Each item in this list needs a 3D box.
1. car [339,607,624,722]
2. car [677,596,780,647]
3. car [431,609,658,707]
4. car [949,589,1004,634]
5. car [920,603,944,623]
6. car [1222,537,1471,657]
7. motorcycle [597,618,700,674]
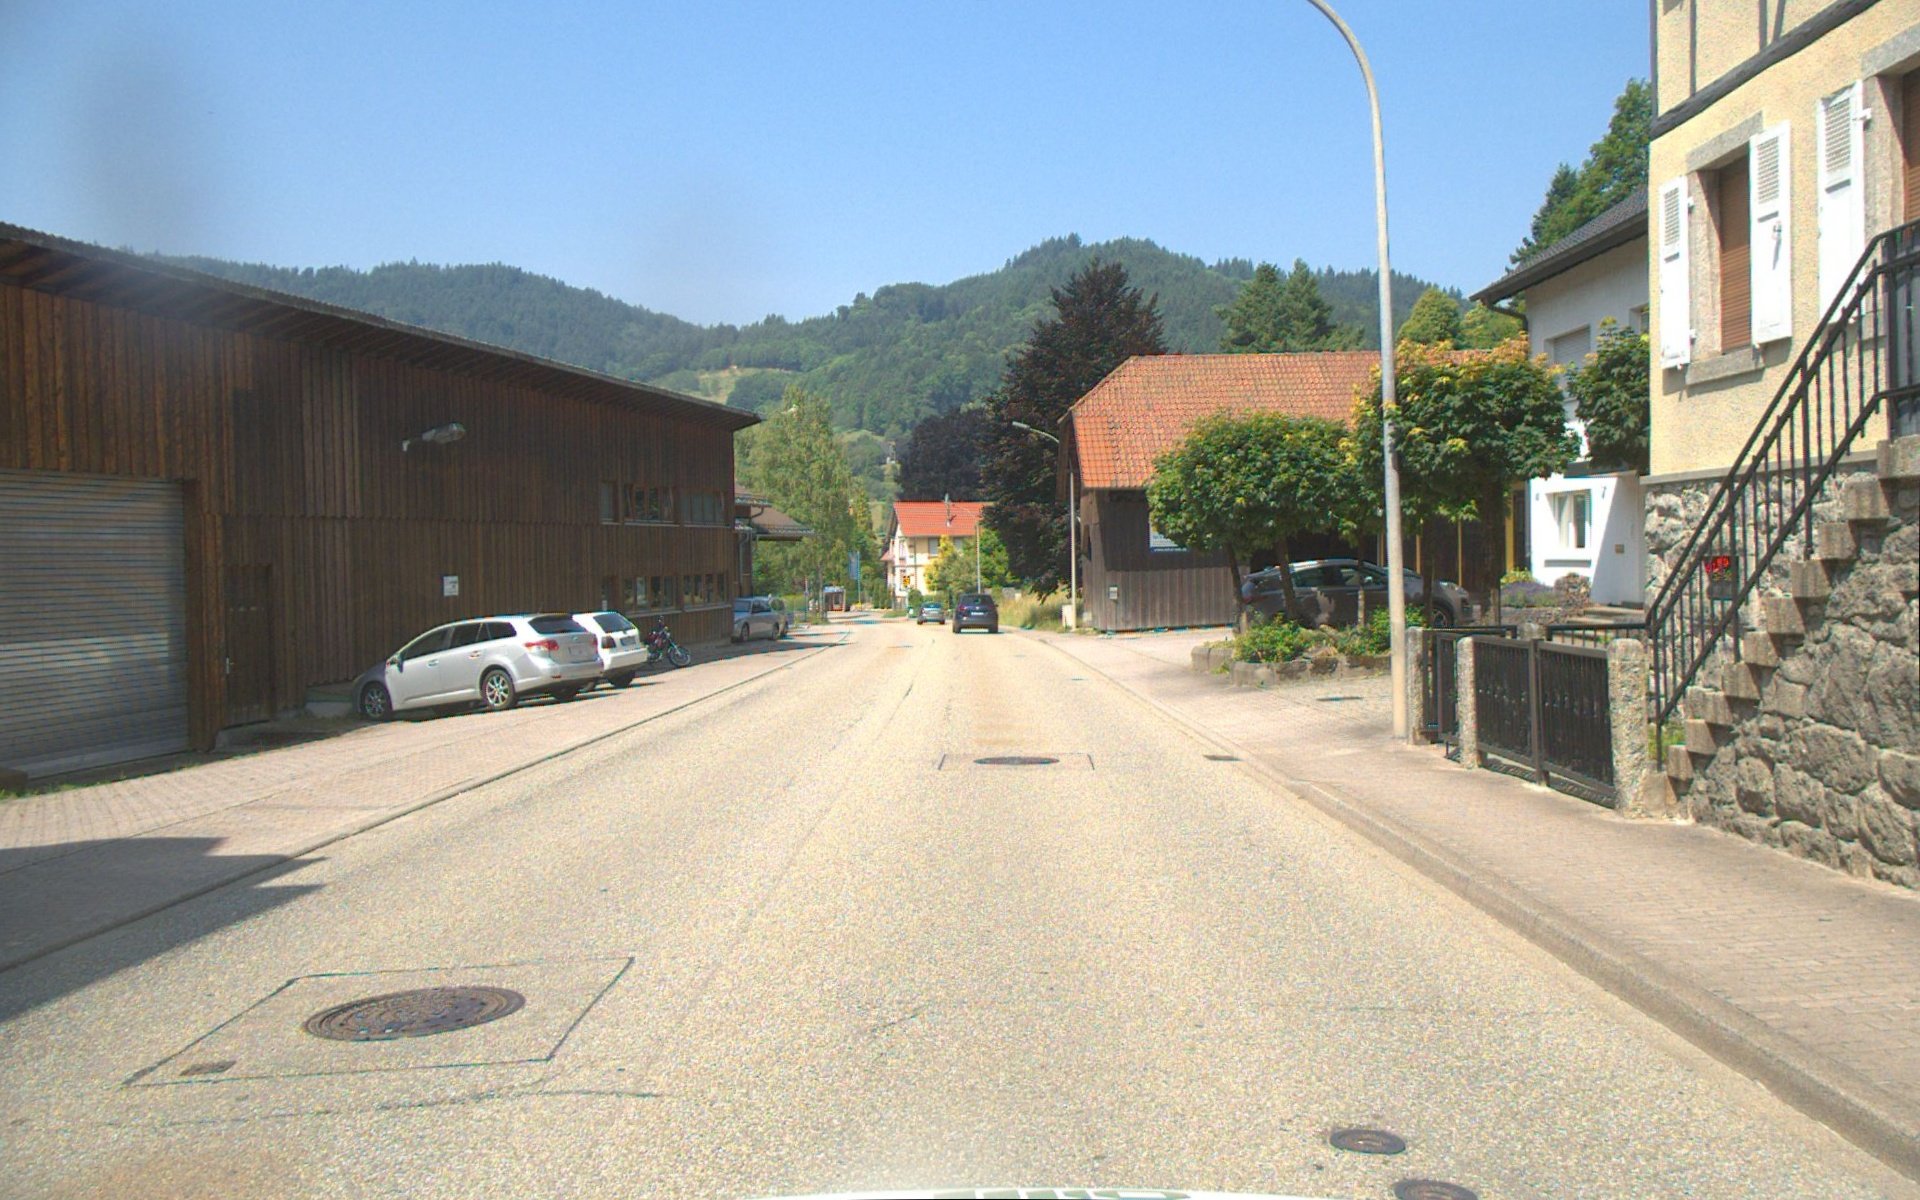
[{"bbox_3d":[-8.031,1.081,27.722,4.343,1.500,1.923,-5,0,26],"label":"car"},{"bbox_3d":[-7.531,0.679,54.308,1.692,1.479,4.809,-1,1,14],"label":"car"},{"bbox_3d":[-7.620,1.062,30.431,3.582,1.409,1.712,-6,-1,15],"label":"car"},{"bbox_3d":[0.668,0.477,69.121,1.882,1.728,3.784,-2,0,-6],"label":"car"},{"bbox_3d":[-1.872,0.870,109.657,1.448,1.230,2.382,-2,0,-5],"label":"car"},{"bbox_3d":[7.130,-0.051,30.841,4.134,1.716,1.777,-6,0,3],"label":"car"},{"bbox_3d":[-7.712,1.141,41.031,2.357,1.286,0.744,-2,0,10],"label":"motorcycle"}]
